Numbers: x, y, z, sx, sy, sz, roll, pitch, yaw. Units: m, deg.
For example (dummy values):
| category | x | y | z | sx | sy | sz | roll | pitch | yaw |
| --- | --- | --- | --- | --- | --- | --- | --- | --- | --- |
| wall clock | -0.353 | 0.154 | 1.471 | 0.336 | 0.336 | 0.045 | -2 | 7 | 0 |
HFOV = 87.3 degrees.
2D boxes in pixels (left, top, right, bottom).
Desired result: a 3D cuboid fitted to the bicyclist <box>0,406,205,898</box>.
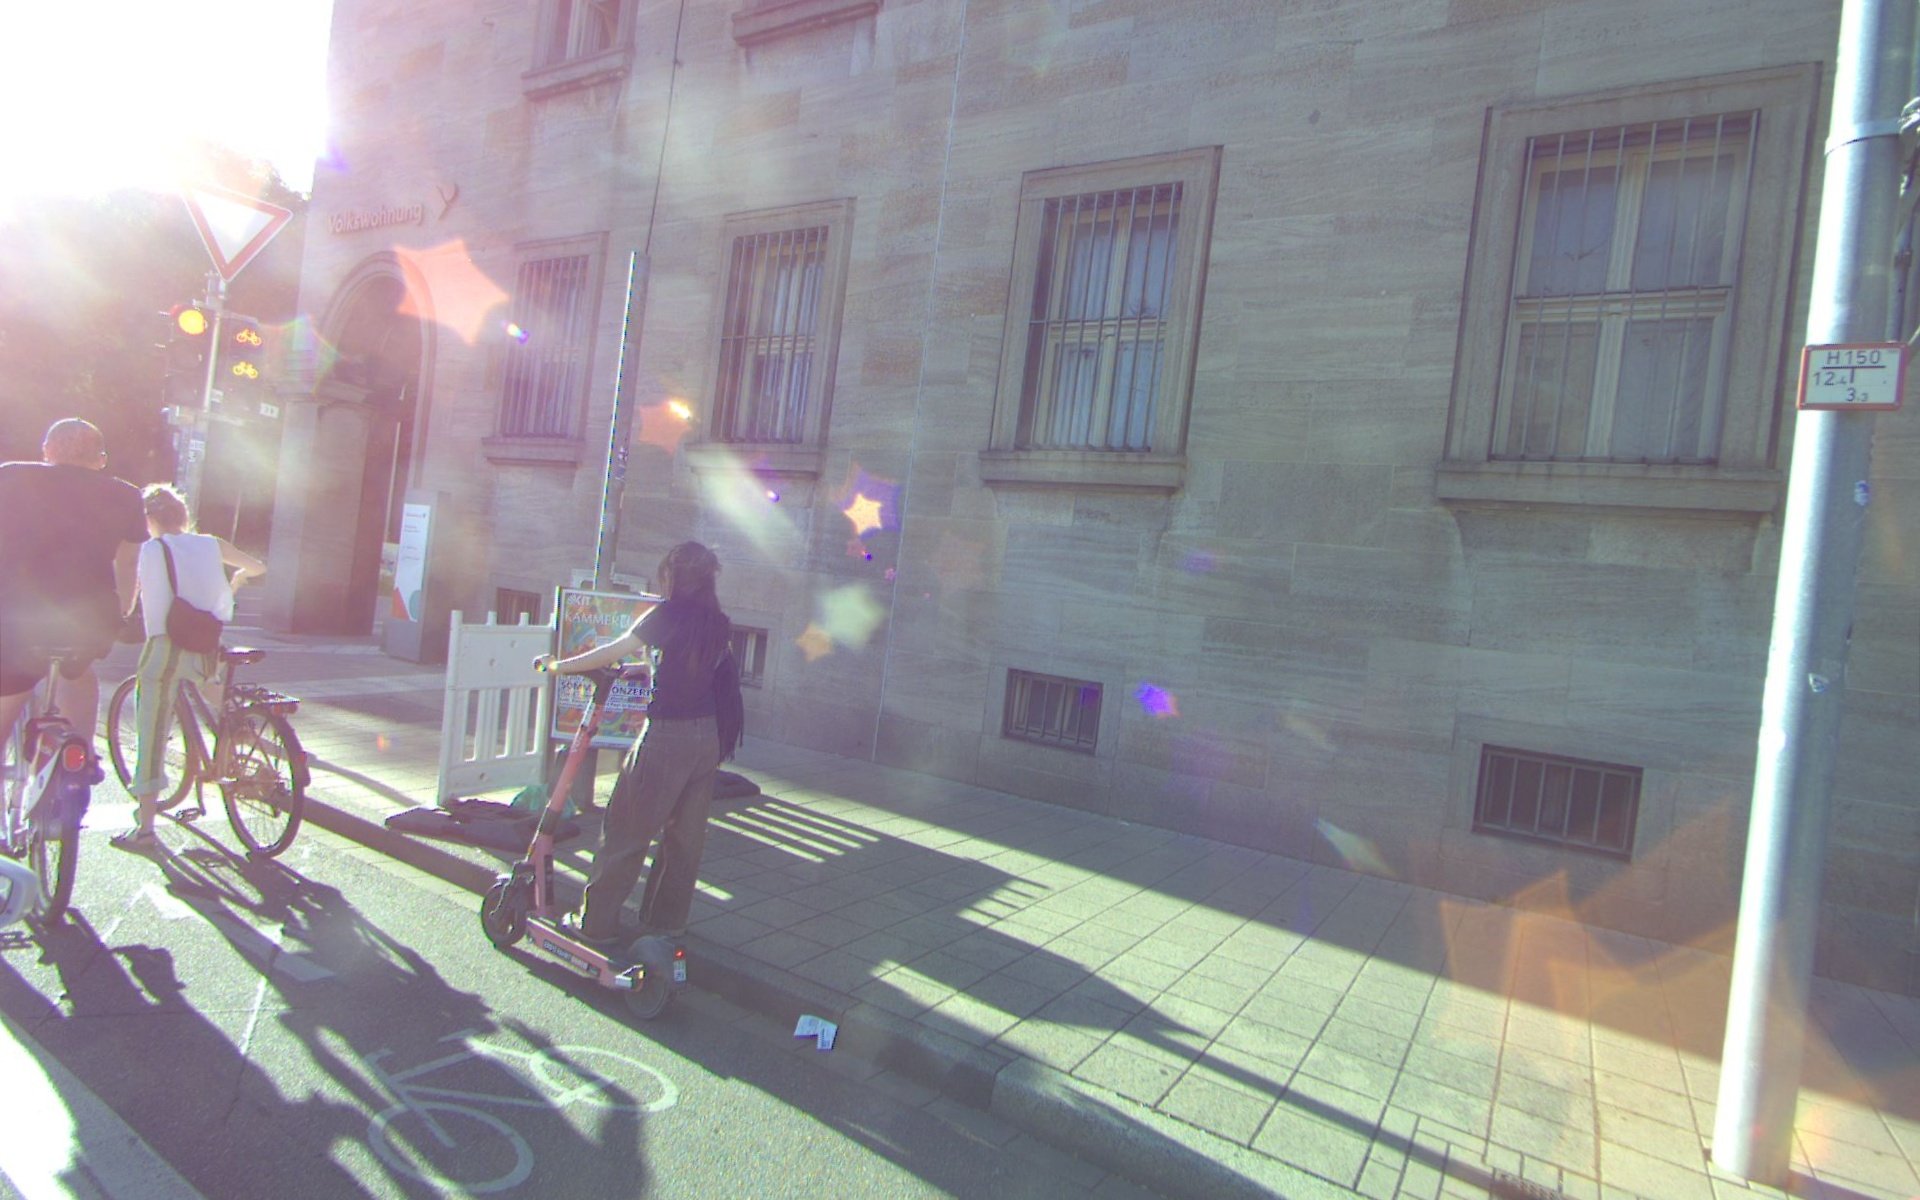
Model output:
| category | x | y | z | sx | sy | sz | roll | pitch | yaw |
| --- | --- | --- | --- | --- | --- | --- | --- | --- | --- |
| bicyclist | -3.640 | 0.173 | 3.973 | 0.897 | 1.736 | 0.624 | 7 | 0 | 31 |

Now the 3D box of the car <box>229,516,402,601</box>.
| category | x | y | z | sx | sy | sz | roll | pitch | yaw |
| --- | --- | --- | --- | --- | --- | --- | --- | --- | --- |
| car | -20.274 | -1.256 | 31.805 | 1.968 | 2.037 | 3.994 | 6 | -2 | 33 |

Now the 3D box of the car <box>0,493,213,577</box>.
| category | x | y | z | sx | sy | sz | roll | pitch | yaw |
| --- | --- | --- | --- | --- | --- | --- | --- | --- | --- |
| car | -23.474 | -1.746 | 27.350 | 1.967 | 1.533 | 4.586 | 6 | -2 | 32 |

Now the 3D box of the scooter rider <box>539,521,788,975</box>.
| category | x | y | z | sx | sy | sz | roll | pitch | yaw |
| --- | --- | --- | --- | --- | --- | --- | --- | --- | --- |
| scooter rider | -1.137 | 0.541 | 3.939 | 0.566 | 1.581 | 0.547 | 7 | 0 | 14 |

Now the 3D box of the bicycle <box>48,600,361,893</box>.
| category | x | y | z | sx | sy | sz | roll | pitch | yaw |
| --- | --- | --- | --- | --- | --- | --- | --- | --- | --- |
| bicycle | -3.705 | 0.631 | 4.887 | 1.718 | 1.057 | 0.582 | 7 | 0 | 33 |

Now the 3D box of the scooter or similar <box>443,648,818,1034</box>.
| category | x | y | z | sx | sy | sz | roll | pitch | yaw |
| --- | --- | --- | --- | --- | --- | --- | --- | --- | --- |
| scooter or similar | -1.297 | 0.851 | 3.944 | 1.250 | 1.163 | 0.574 | 6 | -1 | 27 |

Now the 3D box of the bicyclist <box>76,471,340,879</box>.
| category | x | y | z | sx | sy | sz | roll | pitch | yaw |
| --- | --- | --- | --- | --- | --- | --- | --- | --- | --- |
| bicyclist | -3.637 | 0.317 | 4.866 | 0.934 | 1.760 | 0.584 | 7 | 0 | 32 |

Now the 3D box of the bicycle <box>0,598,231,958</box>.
| category | x | y | z | sx | sy | sz | roll | pitch | yaw |
| --- | --- | --- | --- | --- | --- | --- | --- | --- | --- |
| bicycle | -3.716 | 0.593 | 3.990 | 1.717 | 1.057 | 0.624 | 7 | 0 | 31 |
